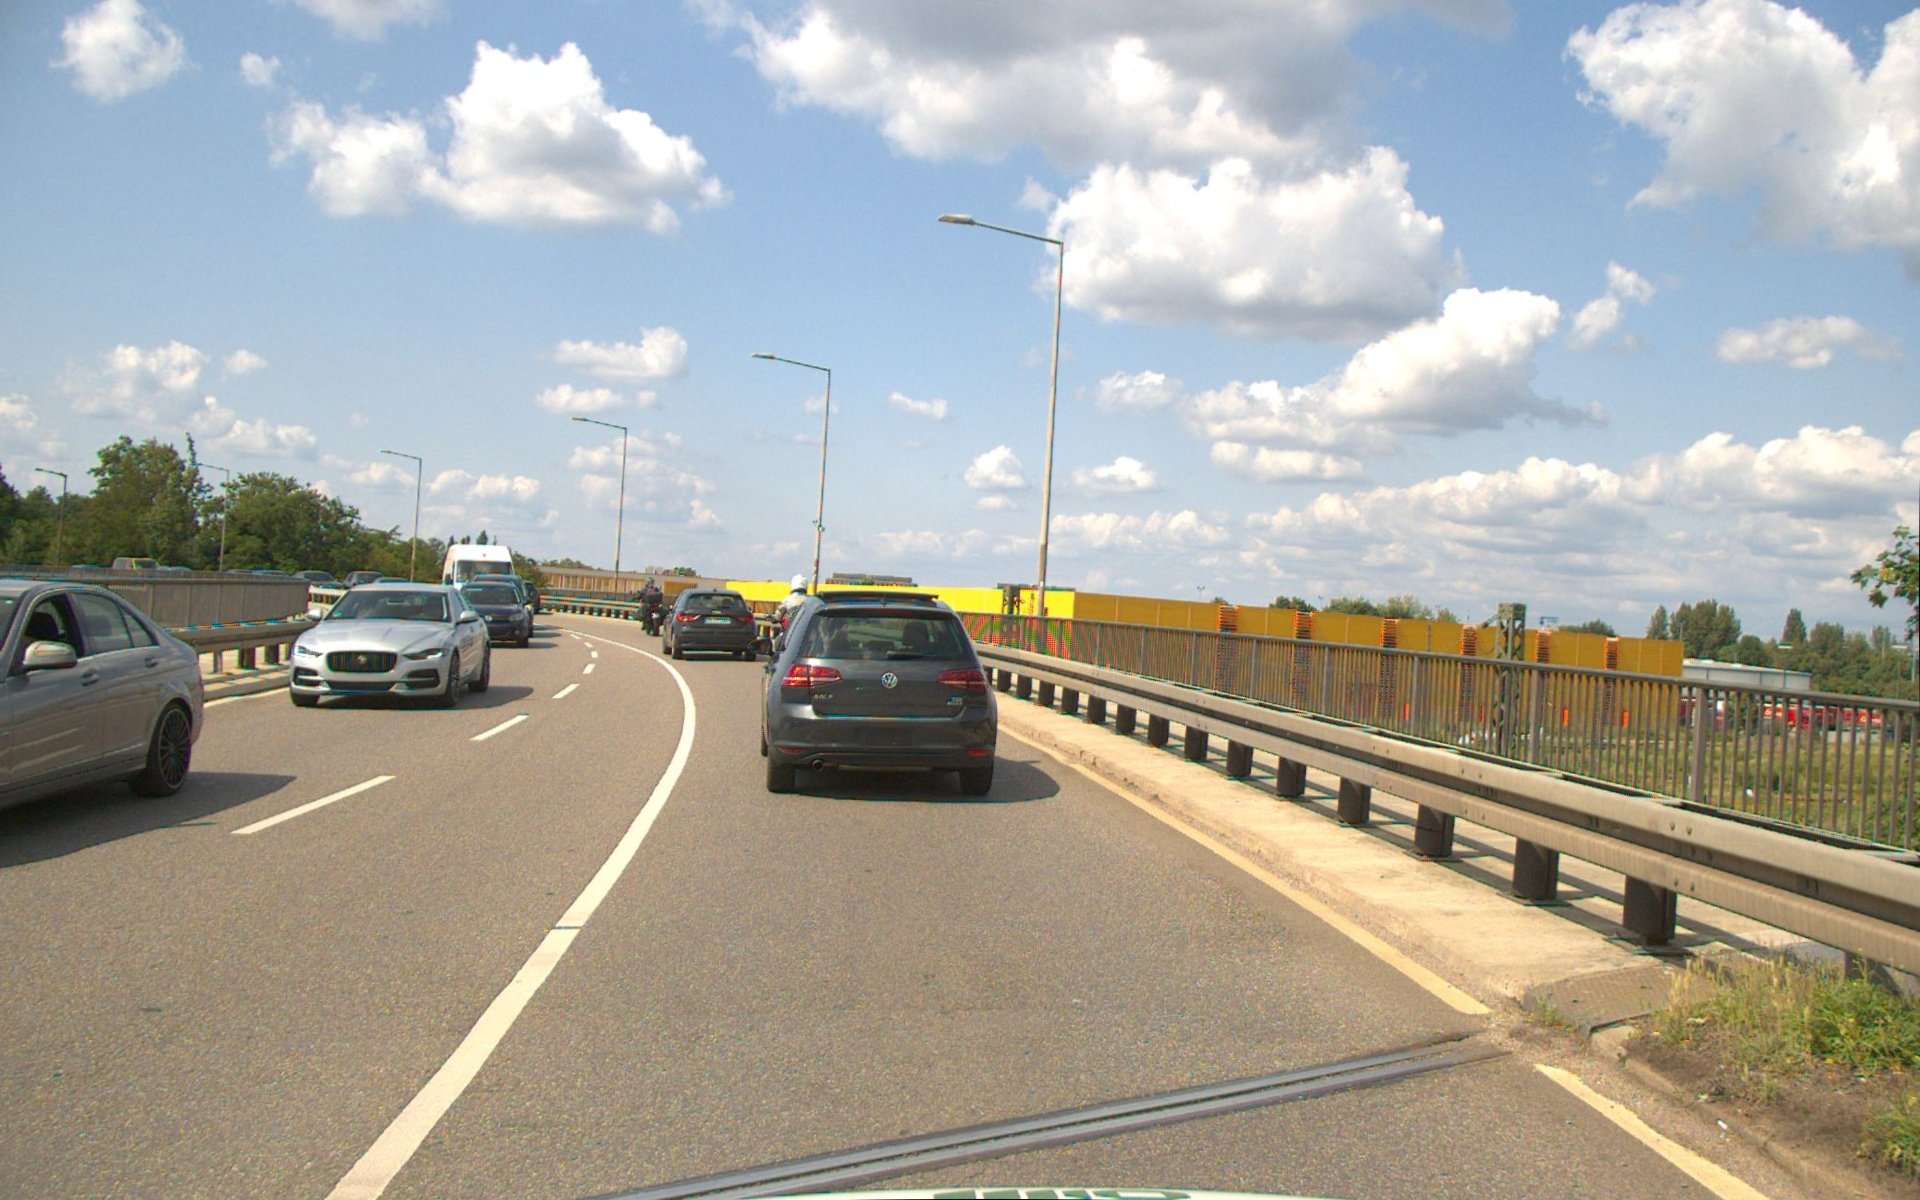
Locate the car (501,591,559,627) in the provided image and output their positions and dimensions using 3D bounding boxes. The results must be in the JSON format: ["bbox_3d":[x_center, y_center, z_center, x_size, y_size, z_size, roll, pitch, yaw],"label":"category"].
[{"bbox_3d":[-18.882,0.383,72.540,1.623,1.504,3.837,2,0,-28],"label":"car"}]

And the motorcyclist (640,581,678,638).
[{"bbox_3d":[-8.830,0.269,48.499,0.950,1.624,1.120,2,0,-17],"label":"motorcyclist"}]

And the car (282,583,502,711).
[{"bbox_3d":[-7.005,0.518,20.869,1.761,1.399,4.572,2,0,-8],"label":"car"}]

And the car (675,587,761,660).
[{"bbox_3d":[-5.060,0.485,34.473,1.651,1.412,3.731,1,-1,-9],"label":"car"}]

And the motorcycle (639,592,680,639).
[{"bbox_3d":[-8.803,0.441,48.361,0.873,1.269,2.387,2,0,-17],"label":"motorcycle"}]

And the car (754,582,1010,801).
[{"bbox_3d":[-0.777,0.654,13.550,1.612,1.504,3.863,2,0,-10],"label":"car"}]

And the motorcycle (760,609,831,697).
[{"bbox_3d":[-2.422,0.744,24.137,0.775,1.151,2.393,2,0,-11],"label":"motorcycle"}]

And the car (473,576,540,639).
[{"bbox_3d":[-12.698,0.190,46.178,1.690,1.660,4.408,1,0,-16],"label":"car"}]

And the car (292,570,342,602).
[{"bbox_3d":[-33.132,-0.737,85.220,1.667,1.624,4.236,0,1,-32],"label":"car"}]

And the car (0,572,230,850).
[{"bbox_3d":[-5.985,0.570,9.692,1.713,1.474,4.333,1,0,-4],"label":"car"}]

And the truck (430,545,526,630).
[{"bbox_3d":[-15.417,-0.417,52.664,1.969,2.551,5.899,1,1,-26],"label":"truck"}]

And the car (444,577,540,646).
[{"bbox_3d":[-10.774,0.232,38.297,1.628,1.479,4.317,1,0,-9],"label":"car"}]

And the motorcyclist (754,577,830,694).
[{"bbox_3d":[-2.484,0.506,24.346,0.949,1.648,1.122,2,0,-11],"label":"motorcyclist"}]
